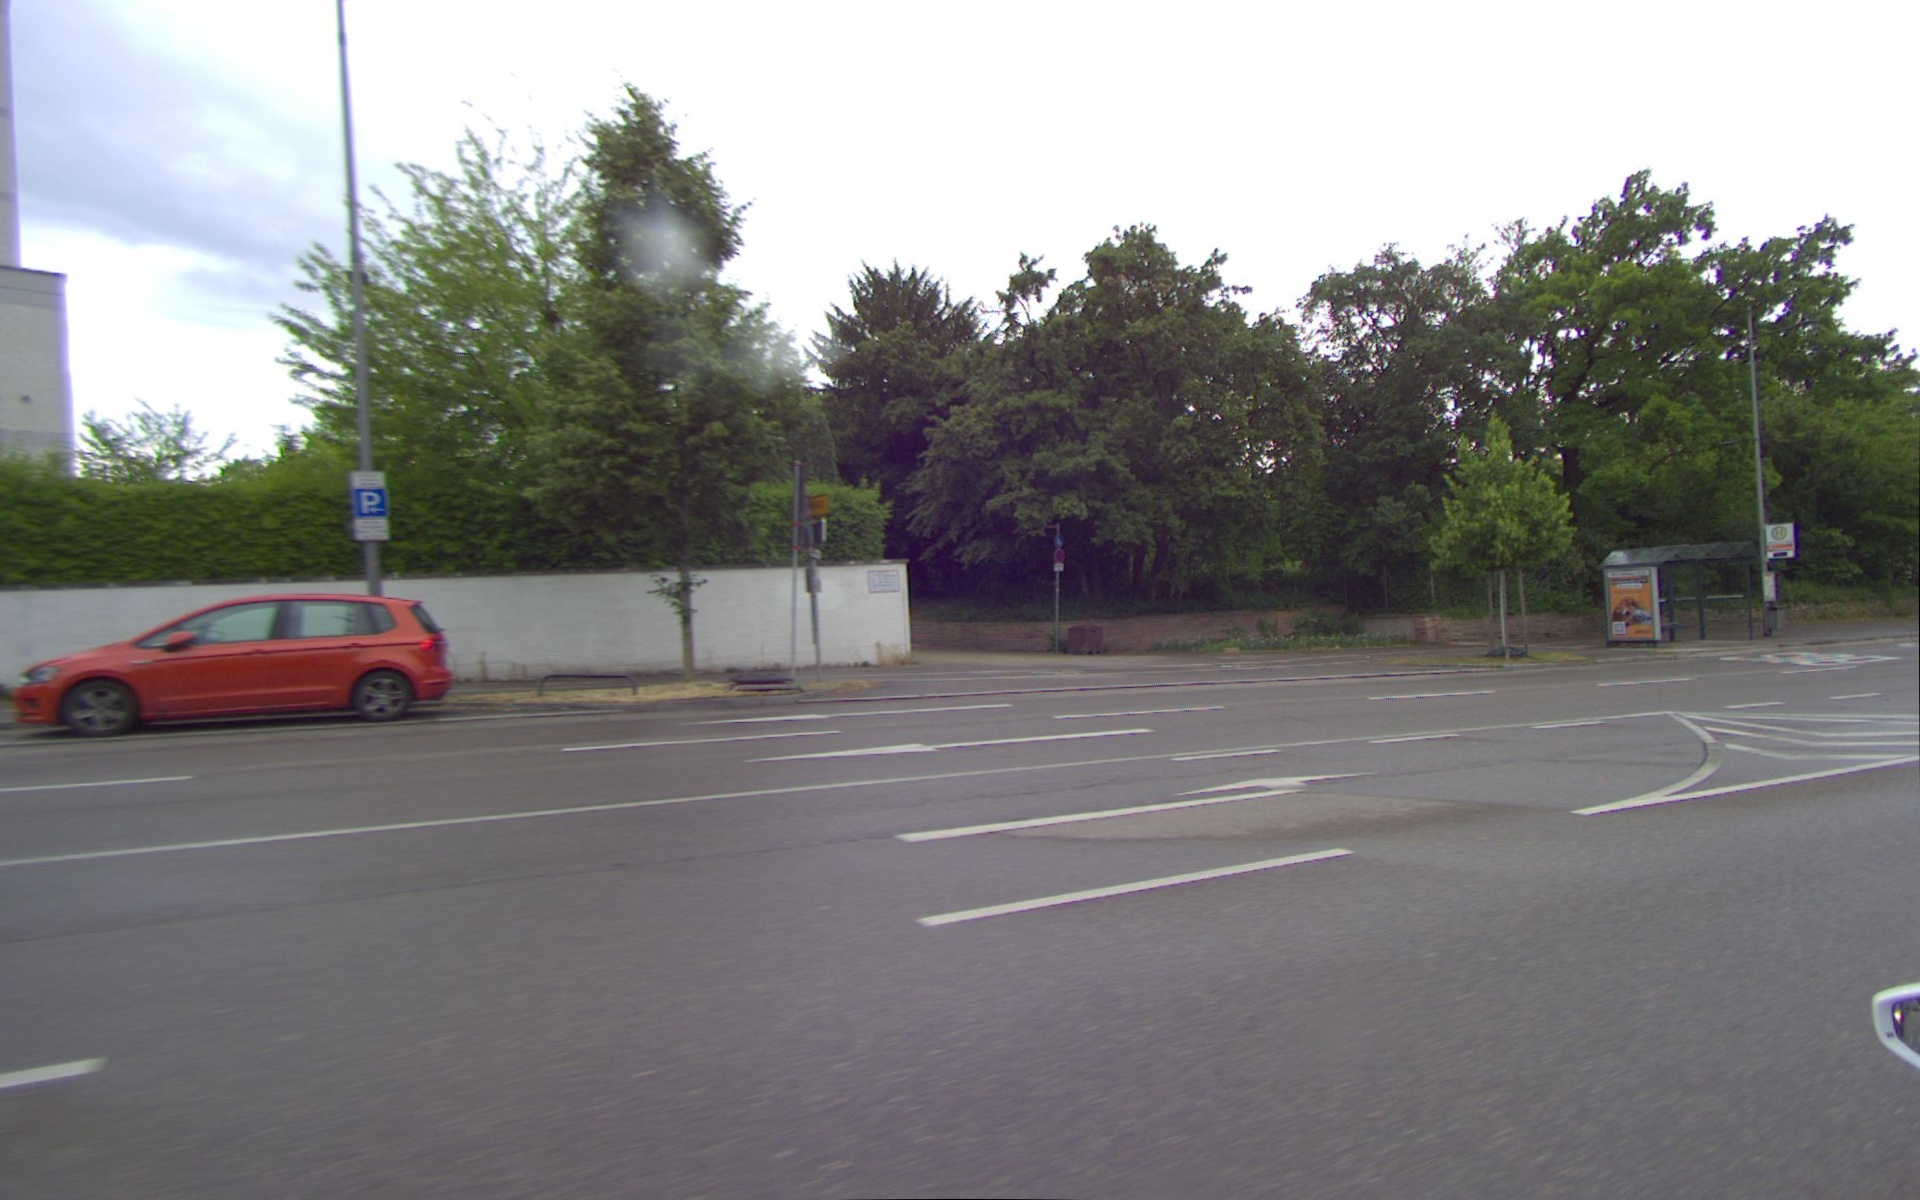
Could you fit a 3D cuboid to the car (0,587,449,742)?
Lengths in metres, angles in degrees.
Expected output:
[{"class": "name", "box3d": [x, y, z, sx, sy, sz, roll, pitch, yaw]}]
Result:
[{"class": "car", "box3d": [-8.566, 0.704, 12.189, 4.167, 1.607, 1.657, 0, -2, -30]}]
